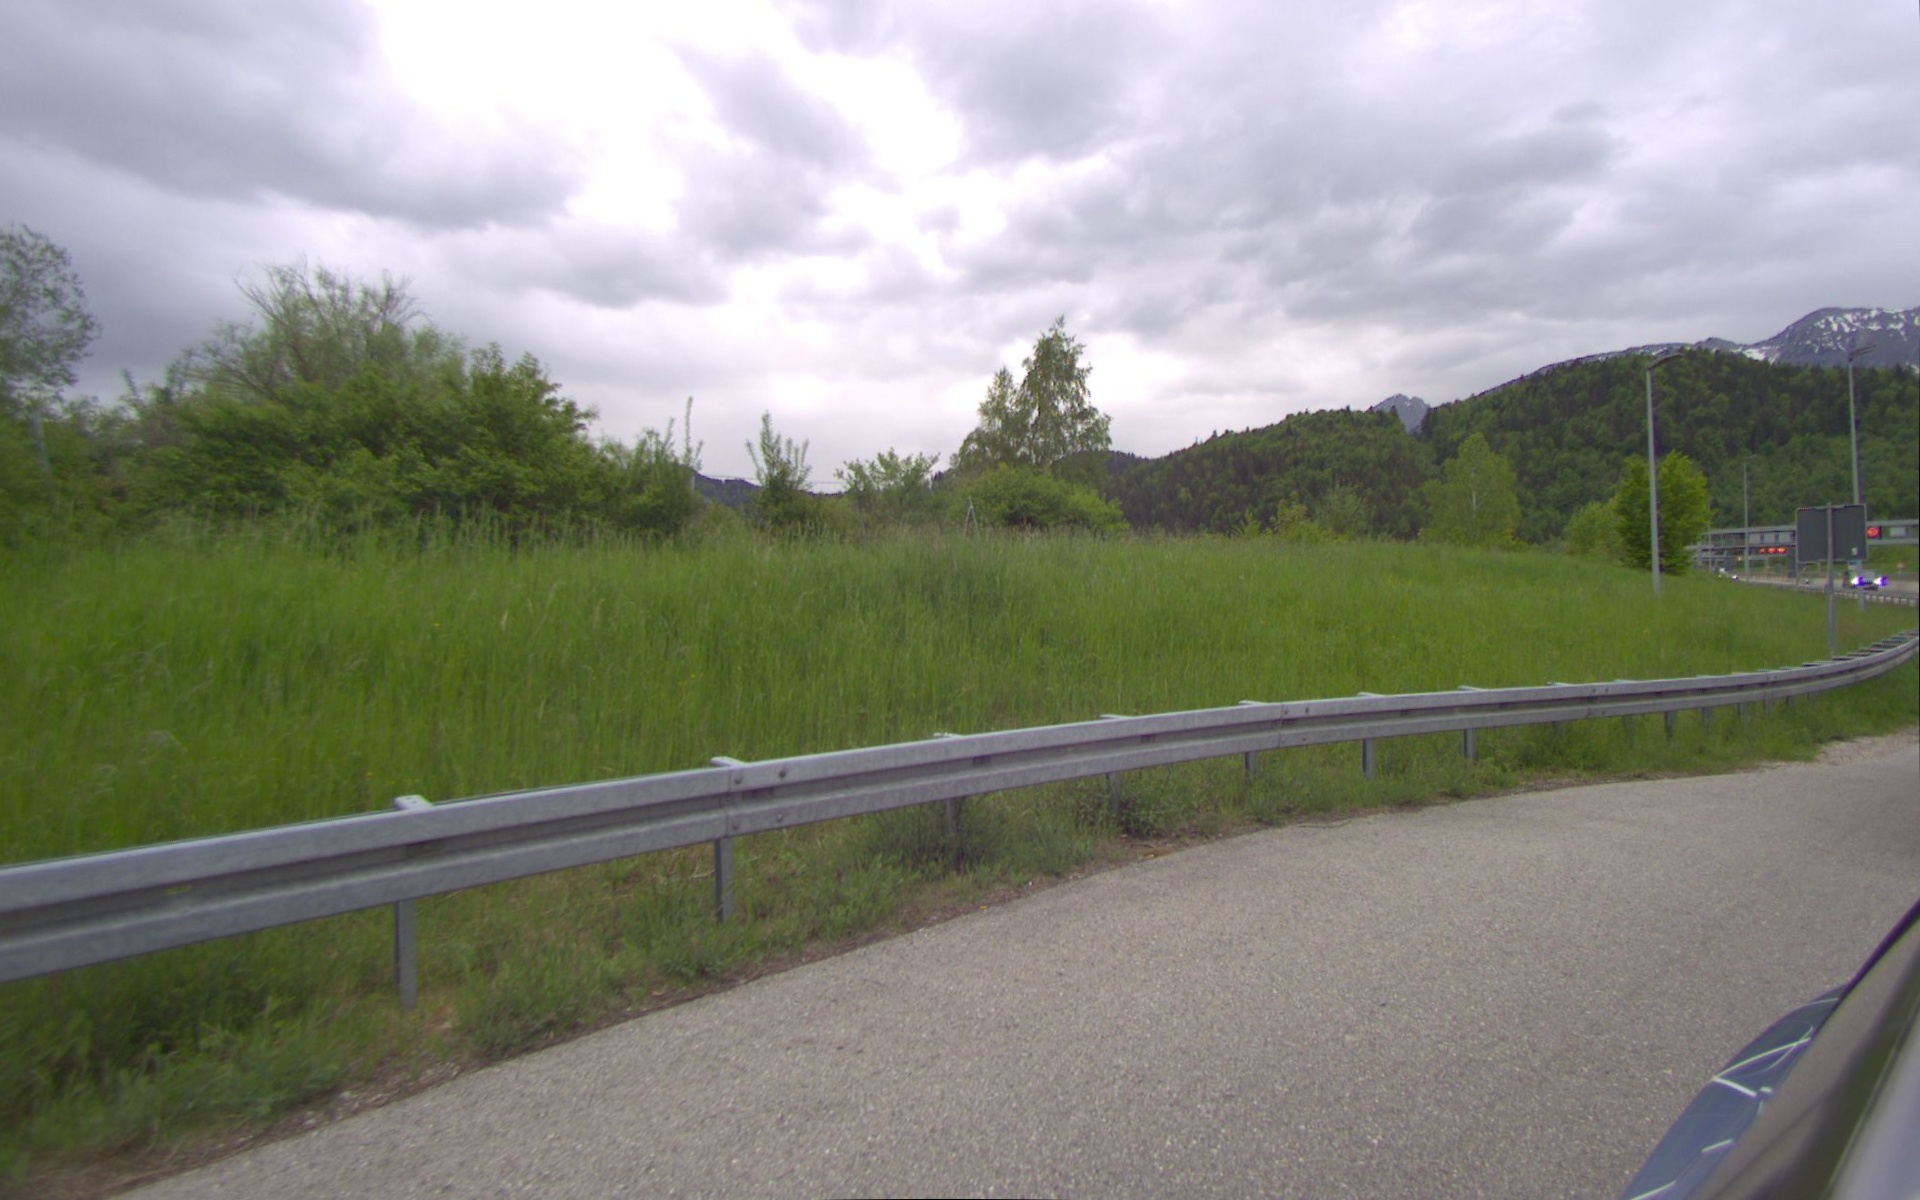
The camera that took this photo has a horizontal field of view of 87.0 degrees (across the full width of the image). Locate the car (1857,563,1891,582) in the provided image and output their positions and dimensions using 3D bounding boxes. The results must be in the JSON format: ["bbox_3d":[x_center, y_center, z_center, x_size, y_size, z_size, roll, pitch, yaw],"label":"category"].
[{"bbox_3d":[80.833,-2.449,89.568,1.710,1.659,4.294,1,2,35],"label":"car"}]
